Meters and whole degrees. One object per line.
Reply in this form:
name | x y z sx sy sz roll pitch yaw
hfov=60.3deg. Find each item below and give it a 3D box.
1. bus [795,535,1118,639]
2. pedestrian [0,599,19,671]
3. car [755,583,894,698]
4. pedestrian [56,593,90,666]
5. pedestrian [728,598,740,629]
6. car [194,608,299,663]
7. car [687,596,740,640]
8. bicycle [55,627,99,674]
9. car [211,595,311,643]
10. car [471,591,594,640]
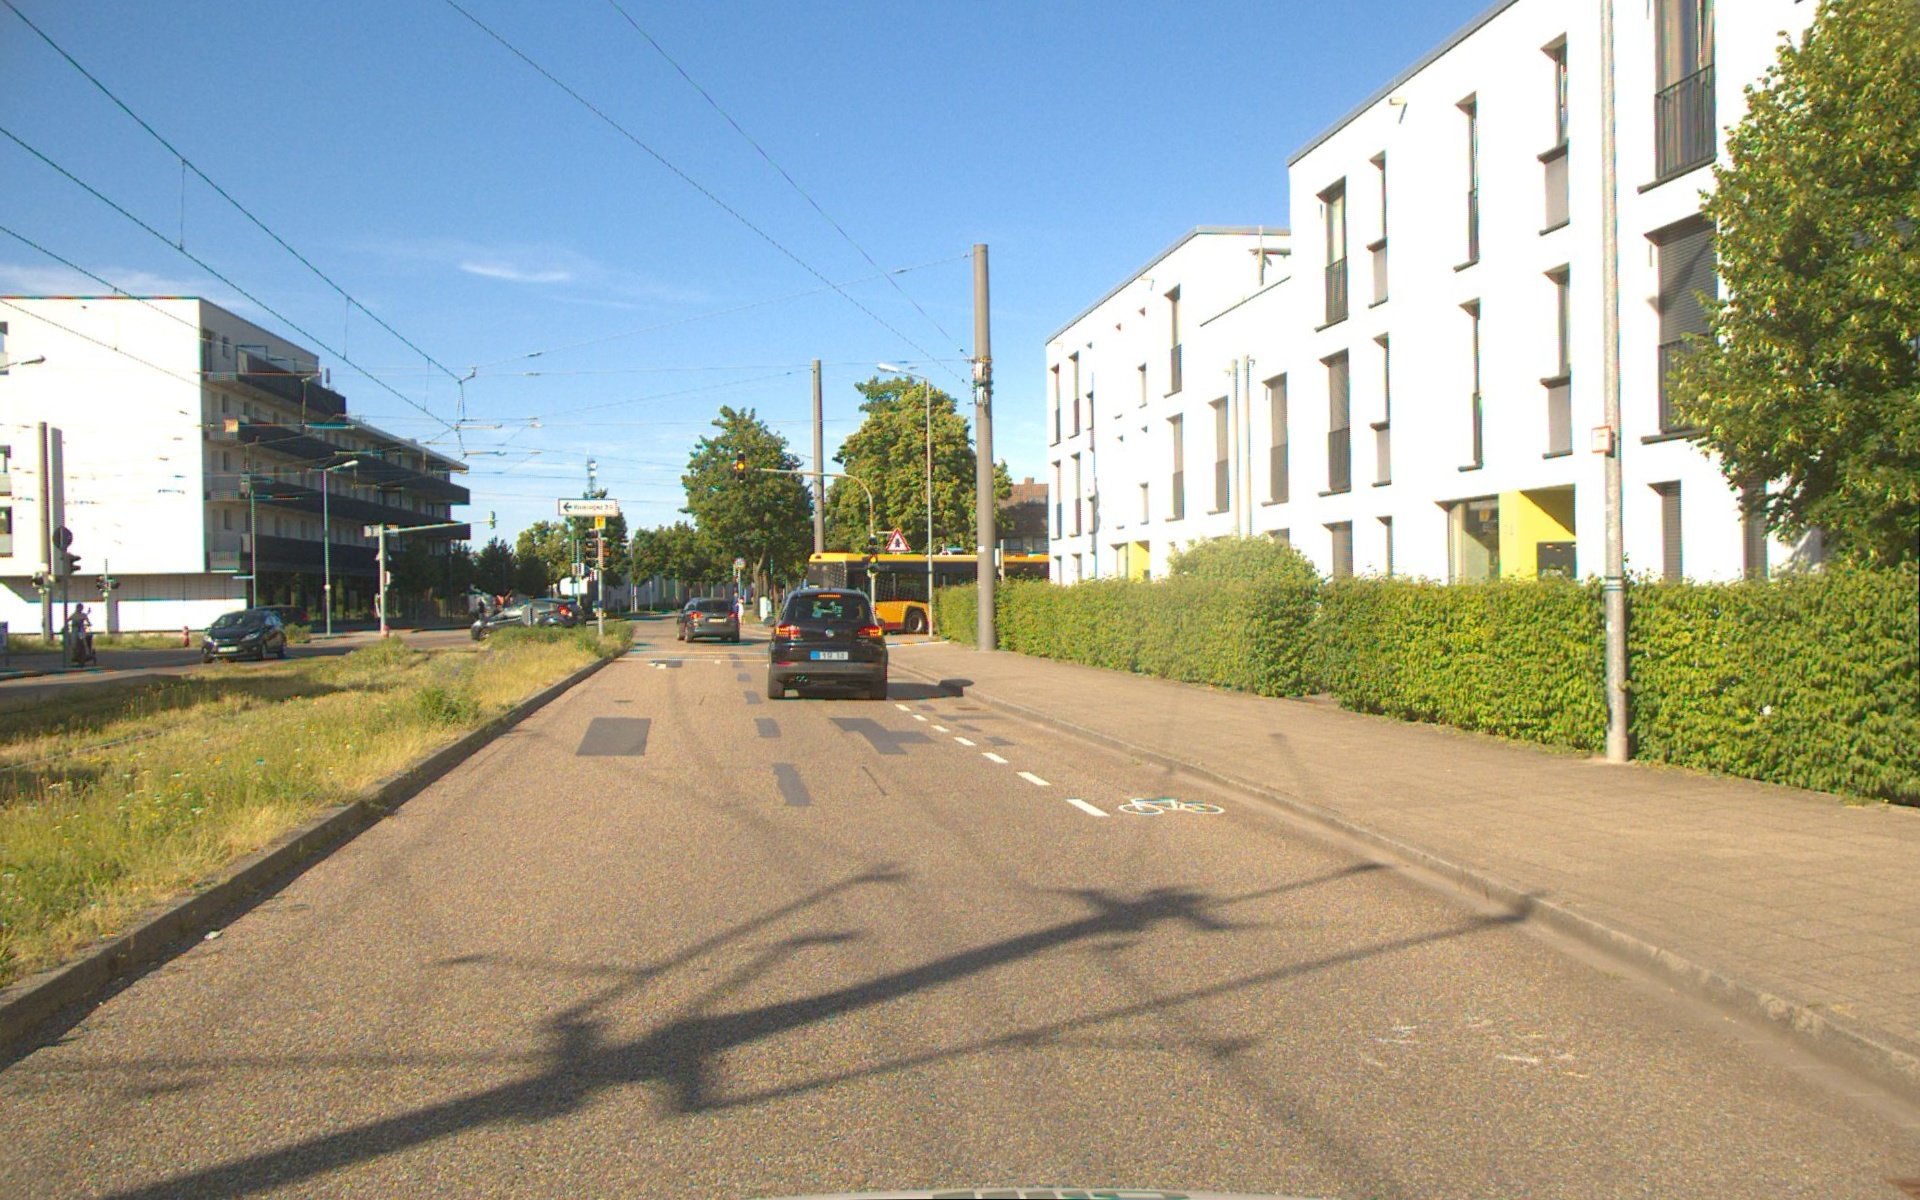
bus | 0.234 -0.478 65.273 14.552 3.735 2.805 0 0 -42
pedestrian | -24.409 0.879 41.769 0.799 1.778 0.909 0 0 -3
car | -2.222 0.579 26.133 1.871 1.671 3.991 0 0 -9
pedestrian | -25.226 0.823 47.036 0.750 2.049 0.665 0 0 -22
pedestrian | -12.197 0.713 89.157 0.591 1.668 0.528 0 0 -4
car | -20.988 1.019 48.826 1.754 1.443 3.993 -3 1 -8
car | -8.326 0.573 55.687 1.719 1.411 3.991 0 0 -9
bicycle | -25.483 1.441 47.754 0.782 1.243 2.686 0 0 -21
car | -32.598 0.879 77.171 3.957 2.049 1.974 -2 1 -37
car | -14.650 0.507 56.727 3.649 1.455 1.710 -3 1 5
